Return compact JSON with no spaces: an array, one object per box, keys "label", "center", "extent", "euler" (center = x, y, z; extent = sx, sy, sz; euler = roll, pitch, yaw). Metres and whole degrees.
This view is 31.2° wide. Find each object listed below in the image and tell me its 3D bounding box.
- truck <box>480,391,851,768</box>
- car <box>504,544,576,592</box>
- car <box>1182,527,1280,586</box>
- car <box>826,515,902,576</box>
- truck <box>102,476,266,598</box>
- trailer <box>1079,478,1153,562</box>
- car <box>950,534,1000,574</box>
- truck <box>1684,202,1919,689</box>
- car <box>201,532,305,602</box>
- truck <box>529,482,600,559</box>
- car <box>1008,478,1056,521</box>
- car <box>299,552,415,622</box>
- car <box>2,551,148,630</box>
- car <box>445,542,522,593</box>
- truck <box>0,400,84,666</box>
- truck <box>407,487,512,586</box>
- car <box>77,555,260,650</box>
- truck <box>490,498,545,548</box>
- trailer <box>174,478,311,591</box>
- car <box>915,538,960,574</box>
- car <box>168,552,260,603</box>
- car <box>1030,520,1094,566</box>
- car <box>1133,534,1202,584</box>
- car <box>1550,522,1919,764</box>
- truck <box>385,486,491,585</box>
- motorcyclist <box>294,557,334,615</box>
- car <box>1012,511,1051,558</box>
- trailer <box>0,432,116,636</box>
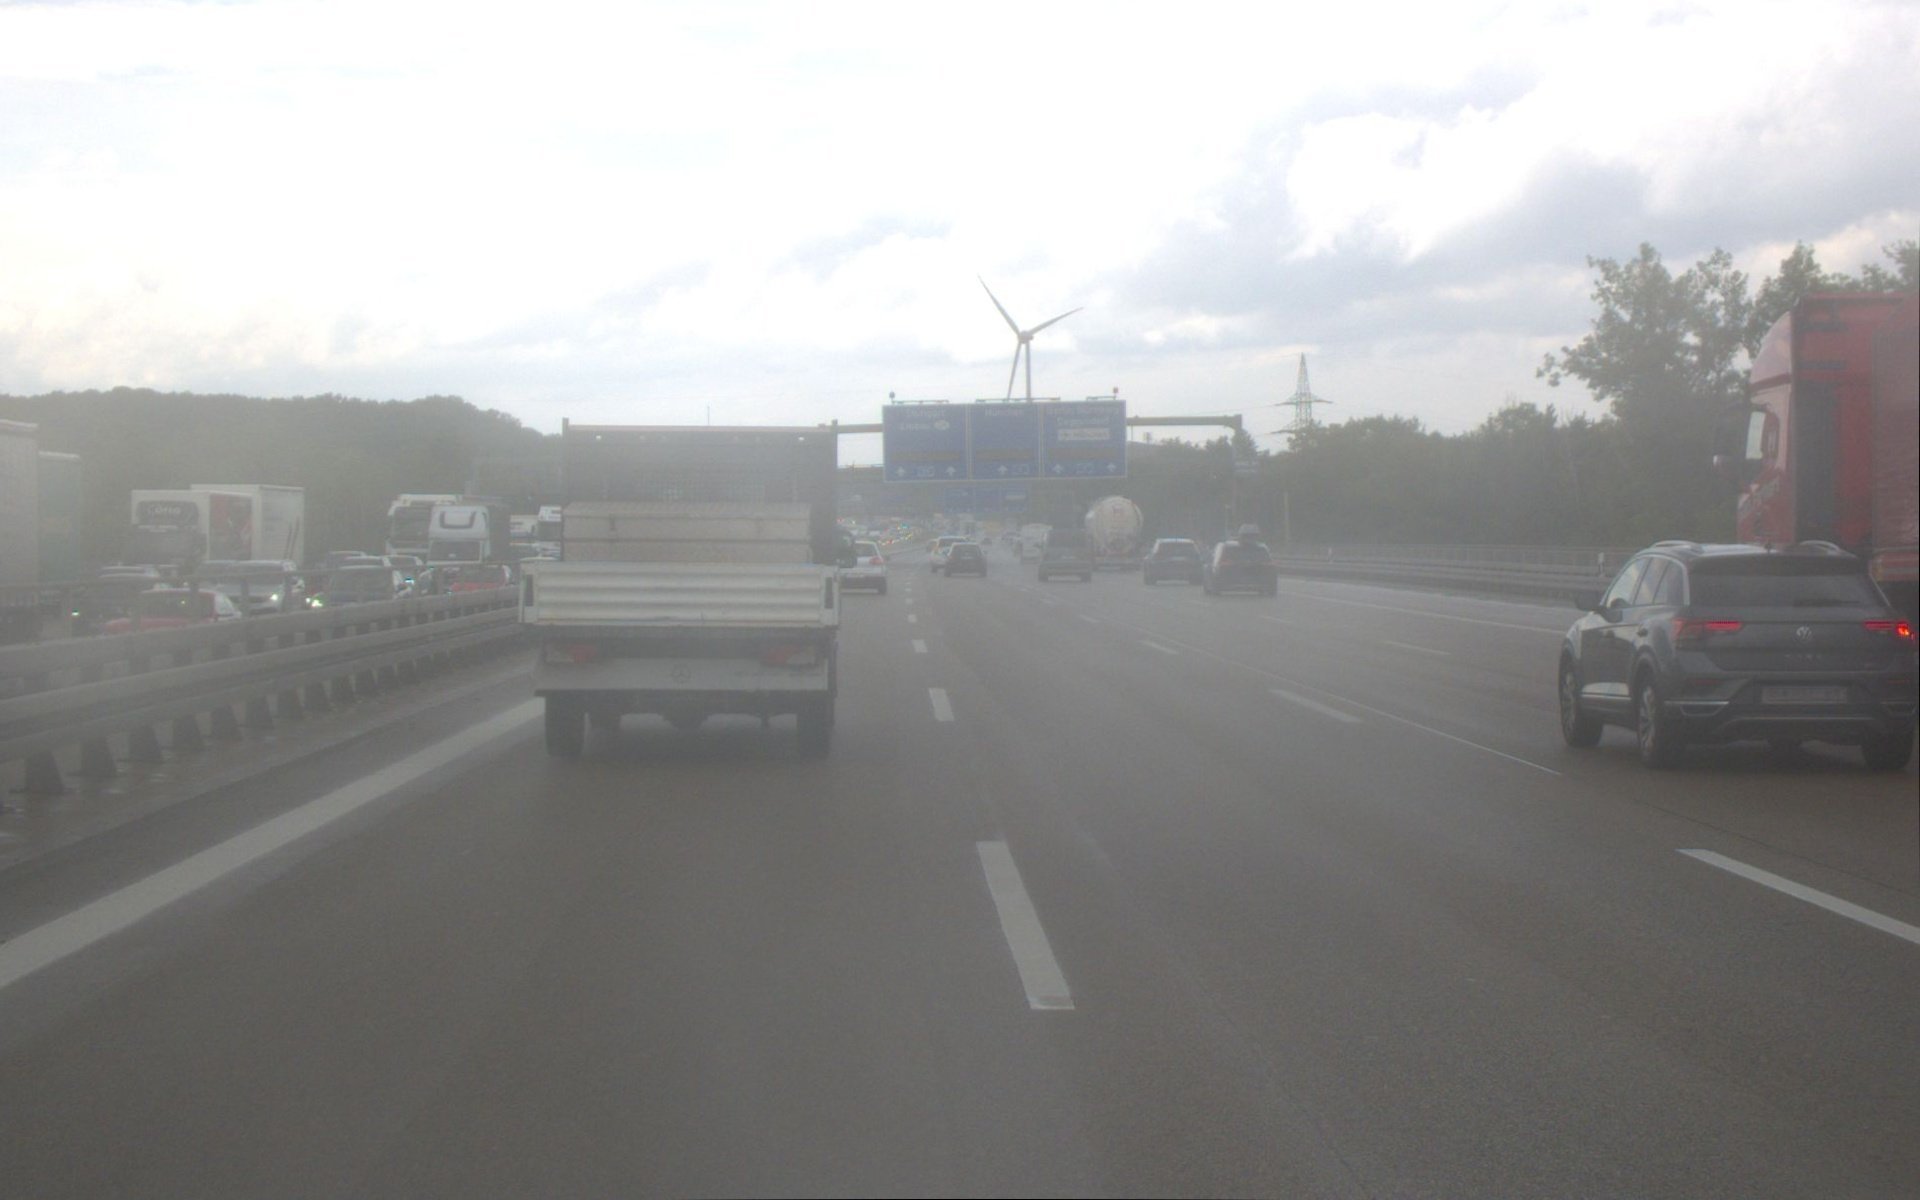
[{"label":"truck","center":[-2.093,-0.217,25.759],"extent":[2.352,2.400,7.359],"euler":[1,1,-3]},{"label":"car","center":[-13.899,-1.079,113.917],"extent":[1.719,1.497,5.503],"euler":[-1,1,0]},{"label":"car","center":[7.614,-1.247,97.174],"extent":[2.104,1.600,5.066],"euler":[0,1,-3]},{"label":"car","center":[-2.691,-1.560,97.042],"extent":[2.045,1.693,4.000],"euler":[0,1,0]},{"label":"truck","center":[-26.099,-2.135,116.136],"extent":[3.225,3.896,10.282],"euler":[1,1,0]},{"label":"trailer","center":[8.059,-4.154,179.268],"extent":[3.333,4.161,11.839],"euler":[1,1,0]},{"label":"car","center":[0.641,-1.987,147.376],"extent":[2.045,1.693,4.000],"euler":[0,1,-1]},{"label":"truck","center":[9.417,-1.278,28.793],"extent":[3.152,3.989,15.638],"euler":[0,1,-1]},{"label":"car","center":[-17.103,-0.832,83.386],"extent":[1.763,1.619,4.781],"euler":[-1,1,-3]},{"label":"truck","center":[-22.191,-4.493,193.145],"extent":[3.177,4.179,7.738],"euler":[-1,2,-1]},{"label":"car","center":[3.235,-4.530,155.502],"extent":[1.993,1.890,4.192],"euler":[1,1,-1]},{"label":"car","center":[-13.172,-0.309,75.266],"extent":[1.832,1.447,4.000],"euler":[-1,1,0]},{"label":"car","center":[-17.232,-0.201,67.111],"extent":[1.832,1.447,4.000],"euler":[-1,1,0]},{"label":"car","center":[-13.313,-0.923,96.250],"extent":[1.573,1.349,4.384],"euler":[-1,1,0]},{"label":"truck","center":[-16.407,-1.012,52.794],"extent":[2.983,4.134,12.524],"euler":[-1,1,-2]},{"label":"truck","center":[-17.899,-2.307,123.323],"extent":[2.519,3.387,8.541],"euler":[-1,1,0]},{"label":"car","center":[-12.733,0.005,55.597],"extent":[1.922,1.414,5.012],"euler":[-1,1,-2]},{"label":"truck","center":[-26.702,-4.648,207.836],"extent":[2.517,2.976,7.022],"euler":[-1,1,-1]},{"label":"trailer","center":[-26.143,-2.391,125.691],"extent":[3.219,3.946,8.851],"euler":[1,1,0]},{"label":"car","center":[-1.100,-2.110,164.212],"extent":[1.972,1.693,4.001],"euler":[0,1,-3]},{"label":"car","center":[-20.981,-0.659,96.828],"extent":[1.668,1.349,4.218],"euler":[-1,1,0]},{"label":"car","center":[3.839,-2.159,129.900],"extent":[2.097,1.693,4.001],"euler":[0,1,-3]},{"label":"car","center":[7.276,-1.461,121.027],"extent":[2.045,1.693,5.007],"euler":[0,1,-1]},{"label":"car","center":[5.394,0.250,24.128],"extent":[1.792,1.557,3.722],"euler":[0,1,-1]},{"label":"truck","center":[-21.281,-2.640,140.602],"extent":[3.199,3.920,7.574],"euler":[1,1,0]},{"label":"motorcyclist","center":[-15.067,-0.330,80.160],"extent":[0.728,1.337,1.030],"euler":[-1,1,0]},{"label":"car","center":[3.889,-3.568,187.015],"extent":[2.045,2.489,4.000],"euler":[0,1,0]},{"label":"trailer","center":[-20.536,-1.399,72.321],"extent":[2.818,4.047,11.604],"euler":[1,1,-1]}]
